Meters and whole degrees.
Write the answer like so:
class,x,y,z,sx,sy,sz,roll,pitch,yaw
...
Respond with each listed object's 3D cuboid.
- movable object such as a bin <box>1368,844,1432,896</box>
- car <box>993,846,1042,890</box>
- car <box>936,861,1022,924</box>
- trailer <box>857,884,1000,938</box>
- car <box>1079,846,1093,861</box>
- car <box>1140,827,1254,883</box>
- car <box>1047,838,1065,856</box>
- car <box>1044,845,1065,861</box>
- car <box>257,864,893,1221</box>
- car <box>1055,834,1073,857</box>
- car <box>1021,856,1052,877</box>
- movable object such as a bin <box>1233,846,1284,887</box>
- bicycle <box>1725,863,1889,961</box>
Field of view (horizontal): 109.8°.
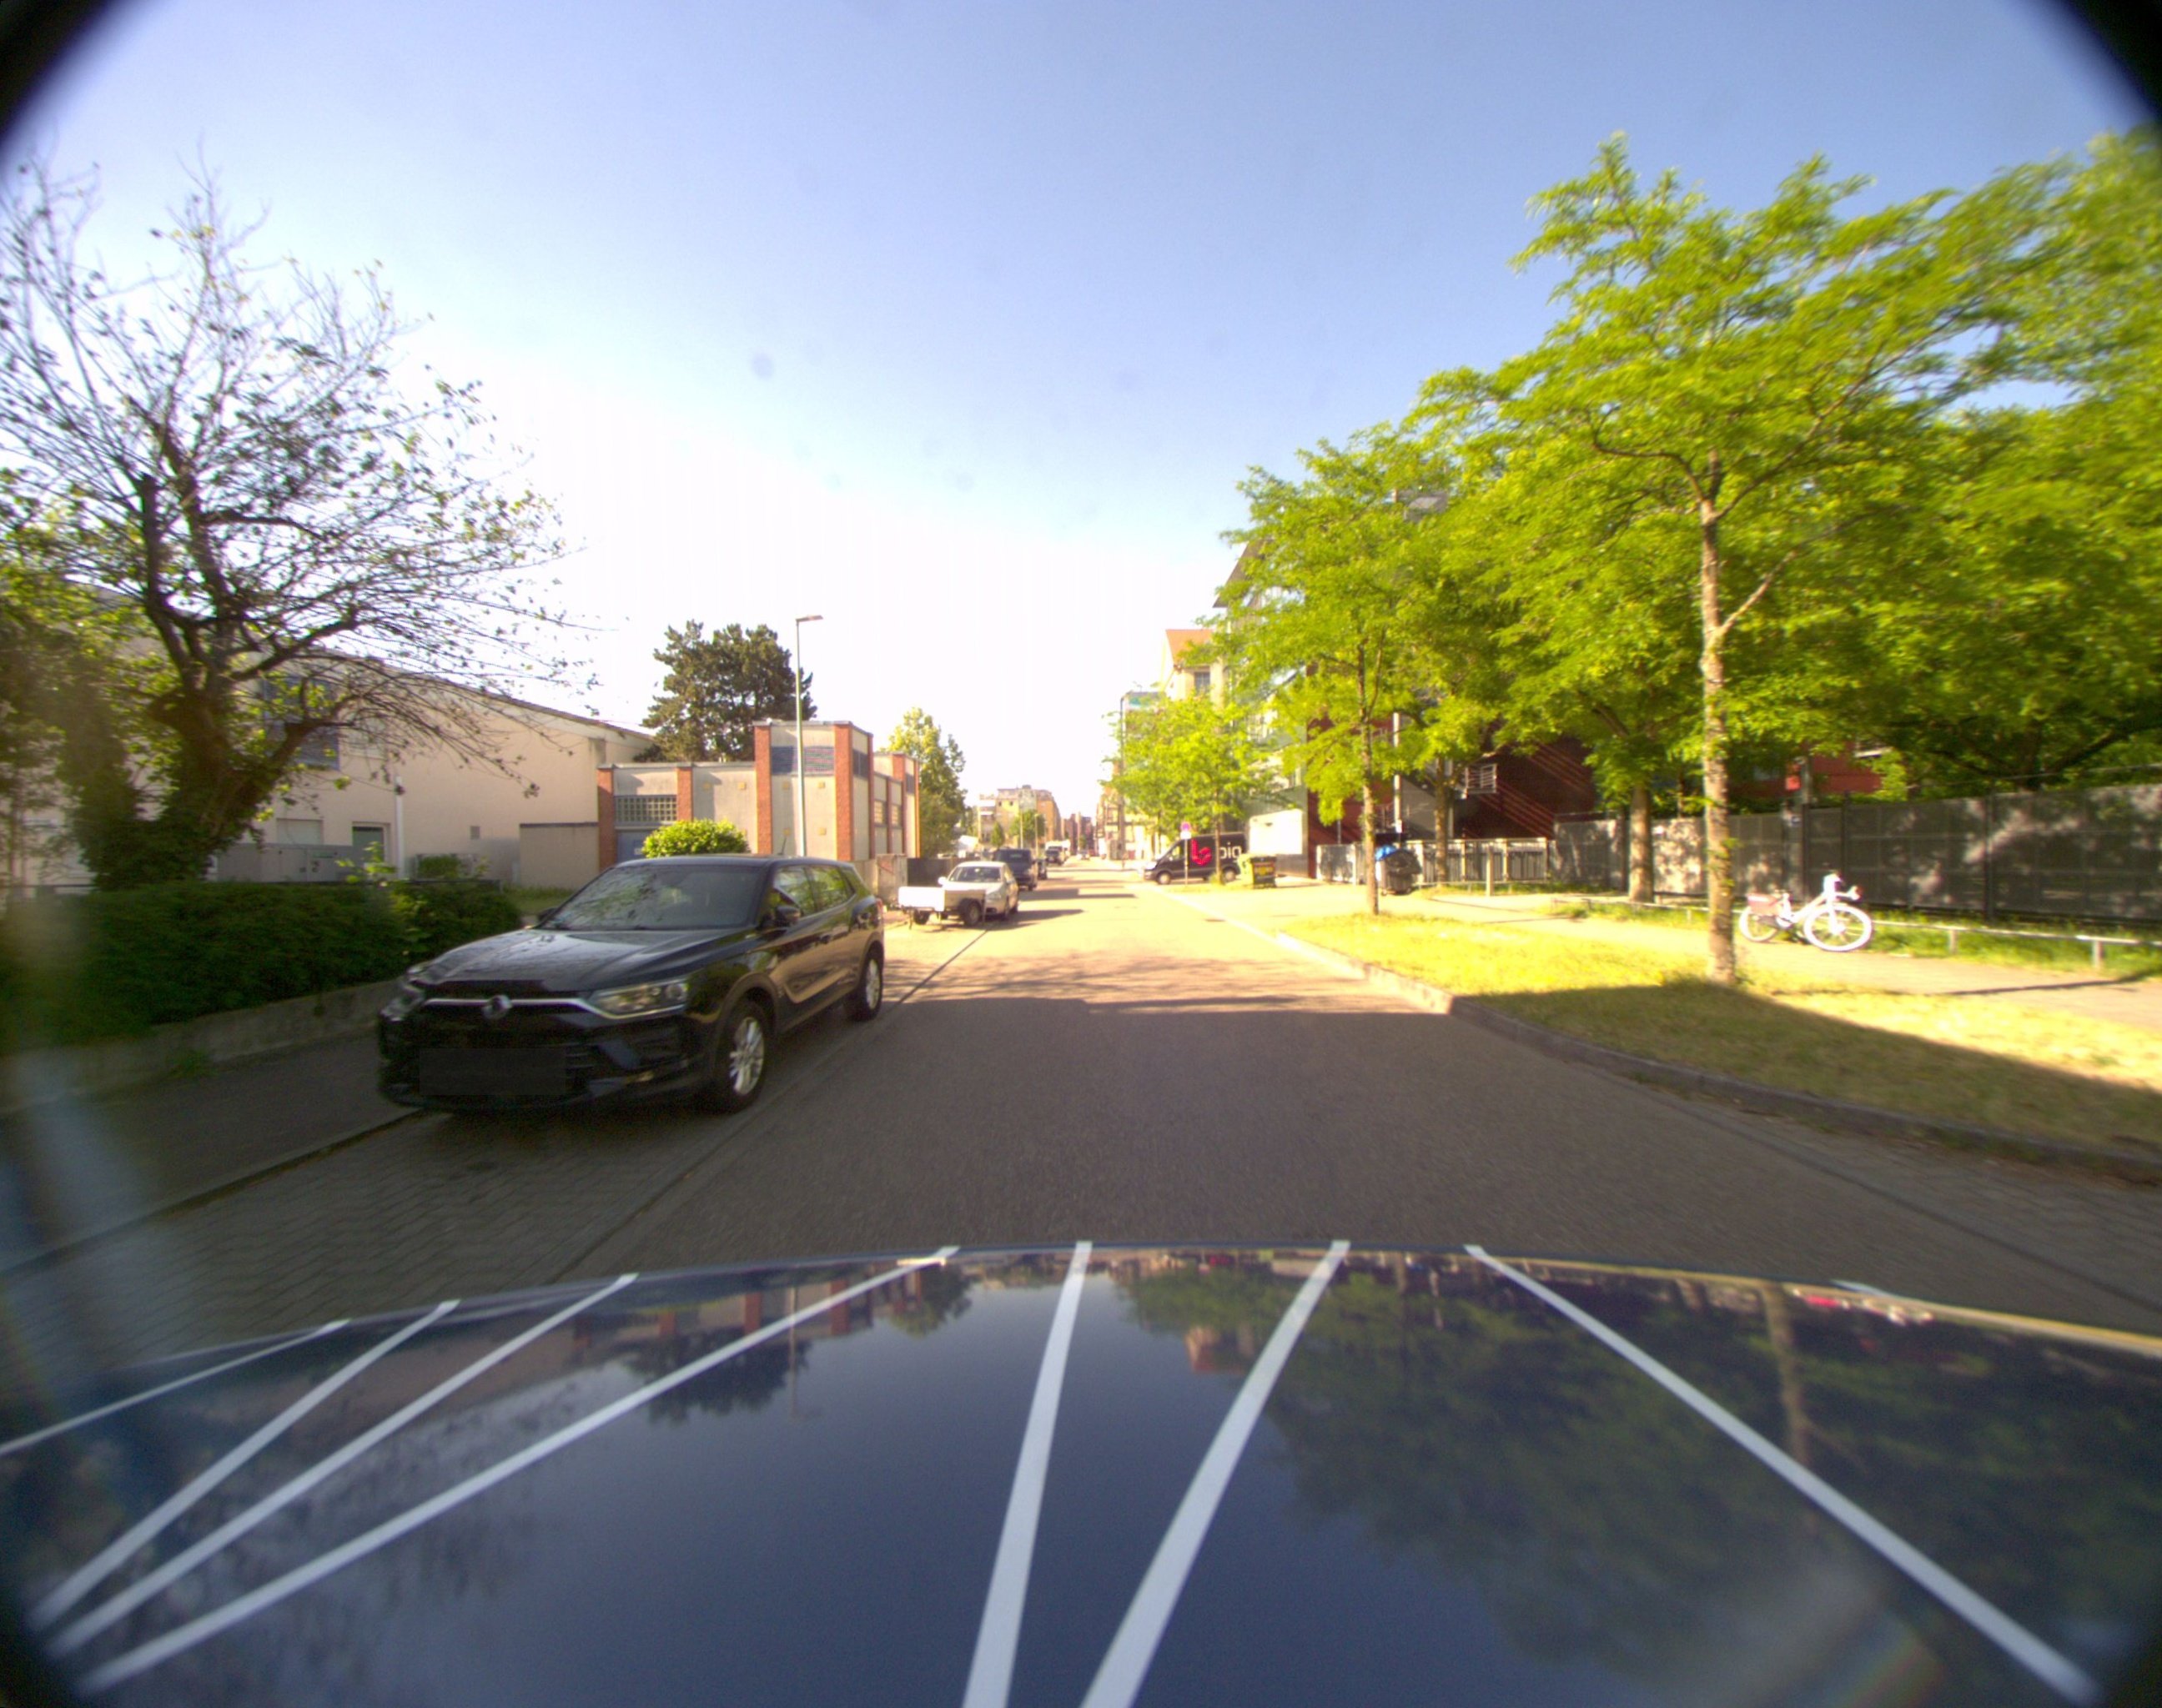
class,x,y,z,sx,sy,sz,roll,pitch,yaw
movable object such as a bin,10.075,0.484,24.075,1.522,1.559,1.347,-2,1,5
car,-2.960,0.593,36.336,1.903,1.974,4.372,0,1,1
car,-2.611,0.942,20.308,1.699,1.448,3.889,0,1,1
trailer,-3.277,1.199,16.775,1.563,0.922,2.986,0,1,27
car,0.721,-0.085,104.616,1.903,1.974,4.372,0,1,1
car,5.957,0.044,39.408,5.489,2.527,1.986,-3,1,-1
car,-2.831,-0.778,86.985,1.903,1.974,4.372,0,1,1
car,-2.689,-0.078,77.887,1.903,1.585,4.372,0,1,1
car,-2.974,0.940,5.848,1.878,1.620,4.406,0,1,1
car,-2.975,-1.522,137.769,2.913,3.921,6.325,0,1,2
car,-2.976,0.818,51.738,1.777,1.282,4.095,0,1,1
movable object such as a bin,7.082,0.476,30.343,1.524,1.559,1.345,-2,1,-9
bicycle,9.908,0.743,10.464,0.602,1.185,1.727,-2,1,1
